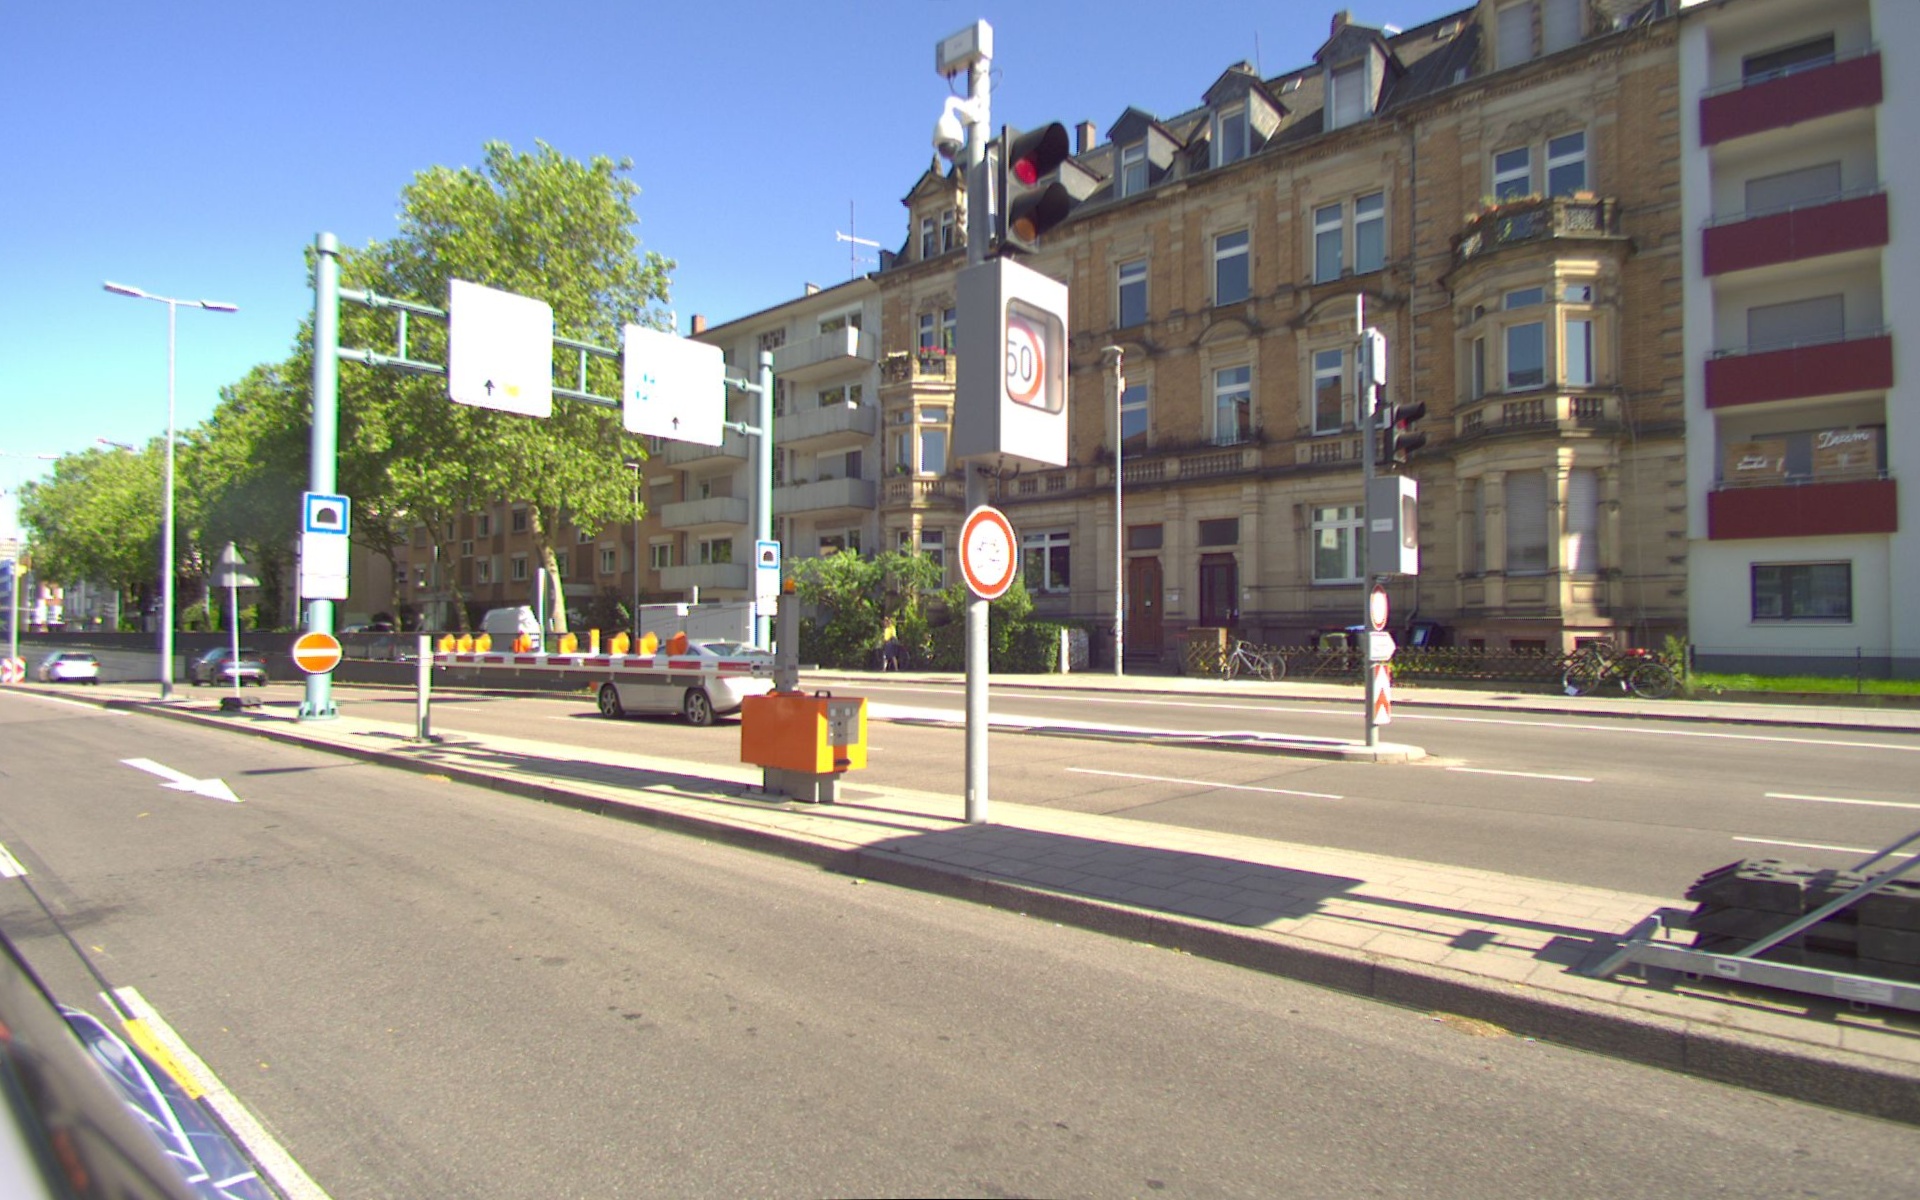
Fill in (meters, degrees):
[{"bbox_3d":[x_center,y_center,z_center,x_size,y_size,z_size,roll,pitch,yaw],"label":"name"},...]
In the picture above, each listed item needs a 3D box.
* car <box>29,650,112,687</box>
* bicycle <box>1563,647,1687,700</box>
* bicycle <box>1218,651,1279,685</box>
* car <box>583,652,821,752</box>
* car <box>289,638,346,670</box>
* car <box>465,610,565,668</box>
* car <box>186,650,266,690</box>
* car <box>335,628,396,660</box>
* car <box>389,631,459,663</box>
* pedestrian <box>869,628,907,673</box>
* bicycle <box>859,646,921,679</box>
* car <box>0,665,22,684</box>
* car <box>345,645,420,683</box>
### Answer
[{"bbox_3d":[-39.559,3.101,44.990,4.613,1.464,1.973,-5,-8,39],"label":"car"},{"bbox_3d":[12.696,1.392,19.365,1.939,0.965,0.301,-2,-3,42],"label":"bicycle"},{"bbox_3d":[6.947,1.624,24.384,1.413,0.777,0.295,-2,-3,42],"label":"bicycle"},{"bbox_3d":[-4.753,1.752,18.300,4.387,1.464,1.973,-3,-1,41],"label":"car"},{"bbox_3d":[-32.646,2.710,51.378,3.690,1.498,1.610,-1,-2,44],"label":"car"},{"bbox_3d":[-20.481,1.855,46.461,5.286,2.465,2.220,-4,-6,42],"label":"car"},{"bbox_3d":[-28.974,2.747,39.915,4.309,1.452,1.590,-3,-6,41],"label":"car"},{"bbox_3d":[-34.641,2.582,58.946,3.999,1.766,1.972,-4,-4,42],"label":"car"},{"bbox_3d":[-28.307,2.520,53.448,3.999,1.592,1.972,-4,-6,42],"label":"car"},{"bbox_3d":[-2.265,1.583,31.715,1.089,1.388,0.560,-3,-3,40],"label":"pedestrian"},{"bbox_3d":[-2.254,1.985,32.359,2.248,1.013,0.462,-3,-2,40],"label":"bicycle"},{"bbox_3d":[-77.629,6.043,82.285,3.296,1.485,1.641,-2,-3,41],"label":"car"},{"bbox_3d":[-24.580,2.688,43.041,3.687,1.449,1.611,-2,-1,41],"label":"car"}]
